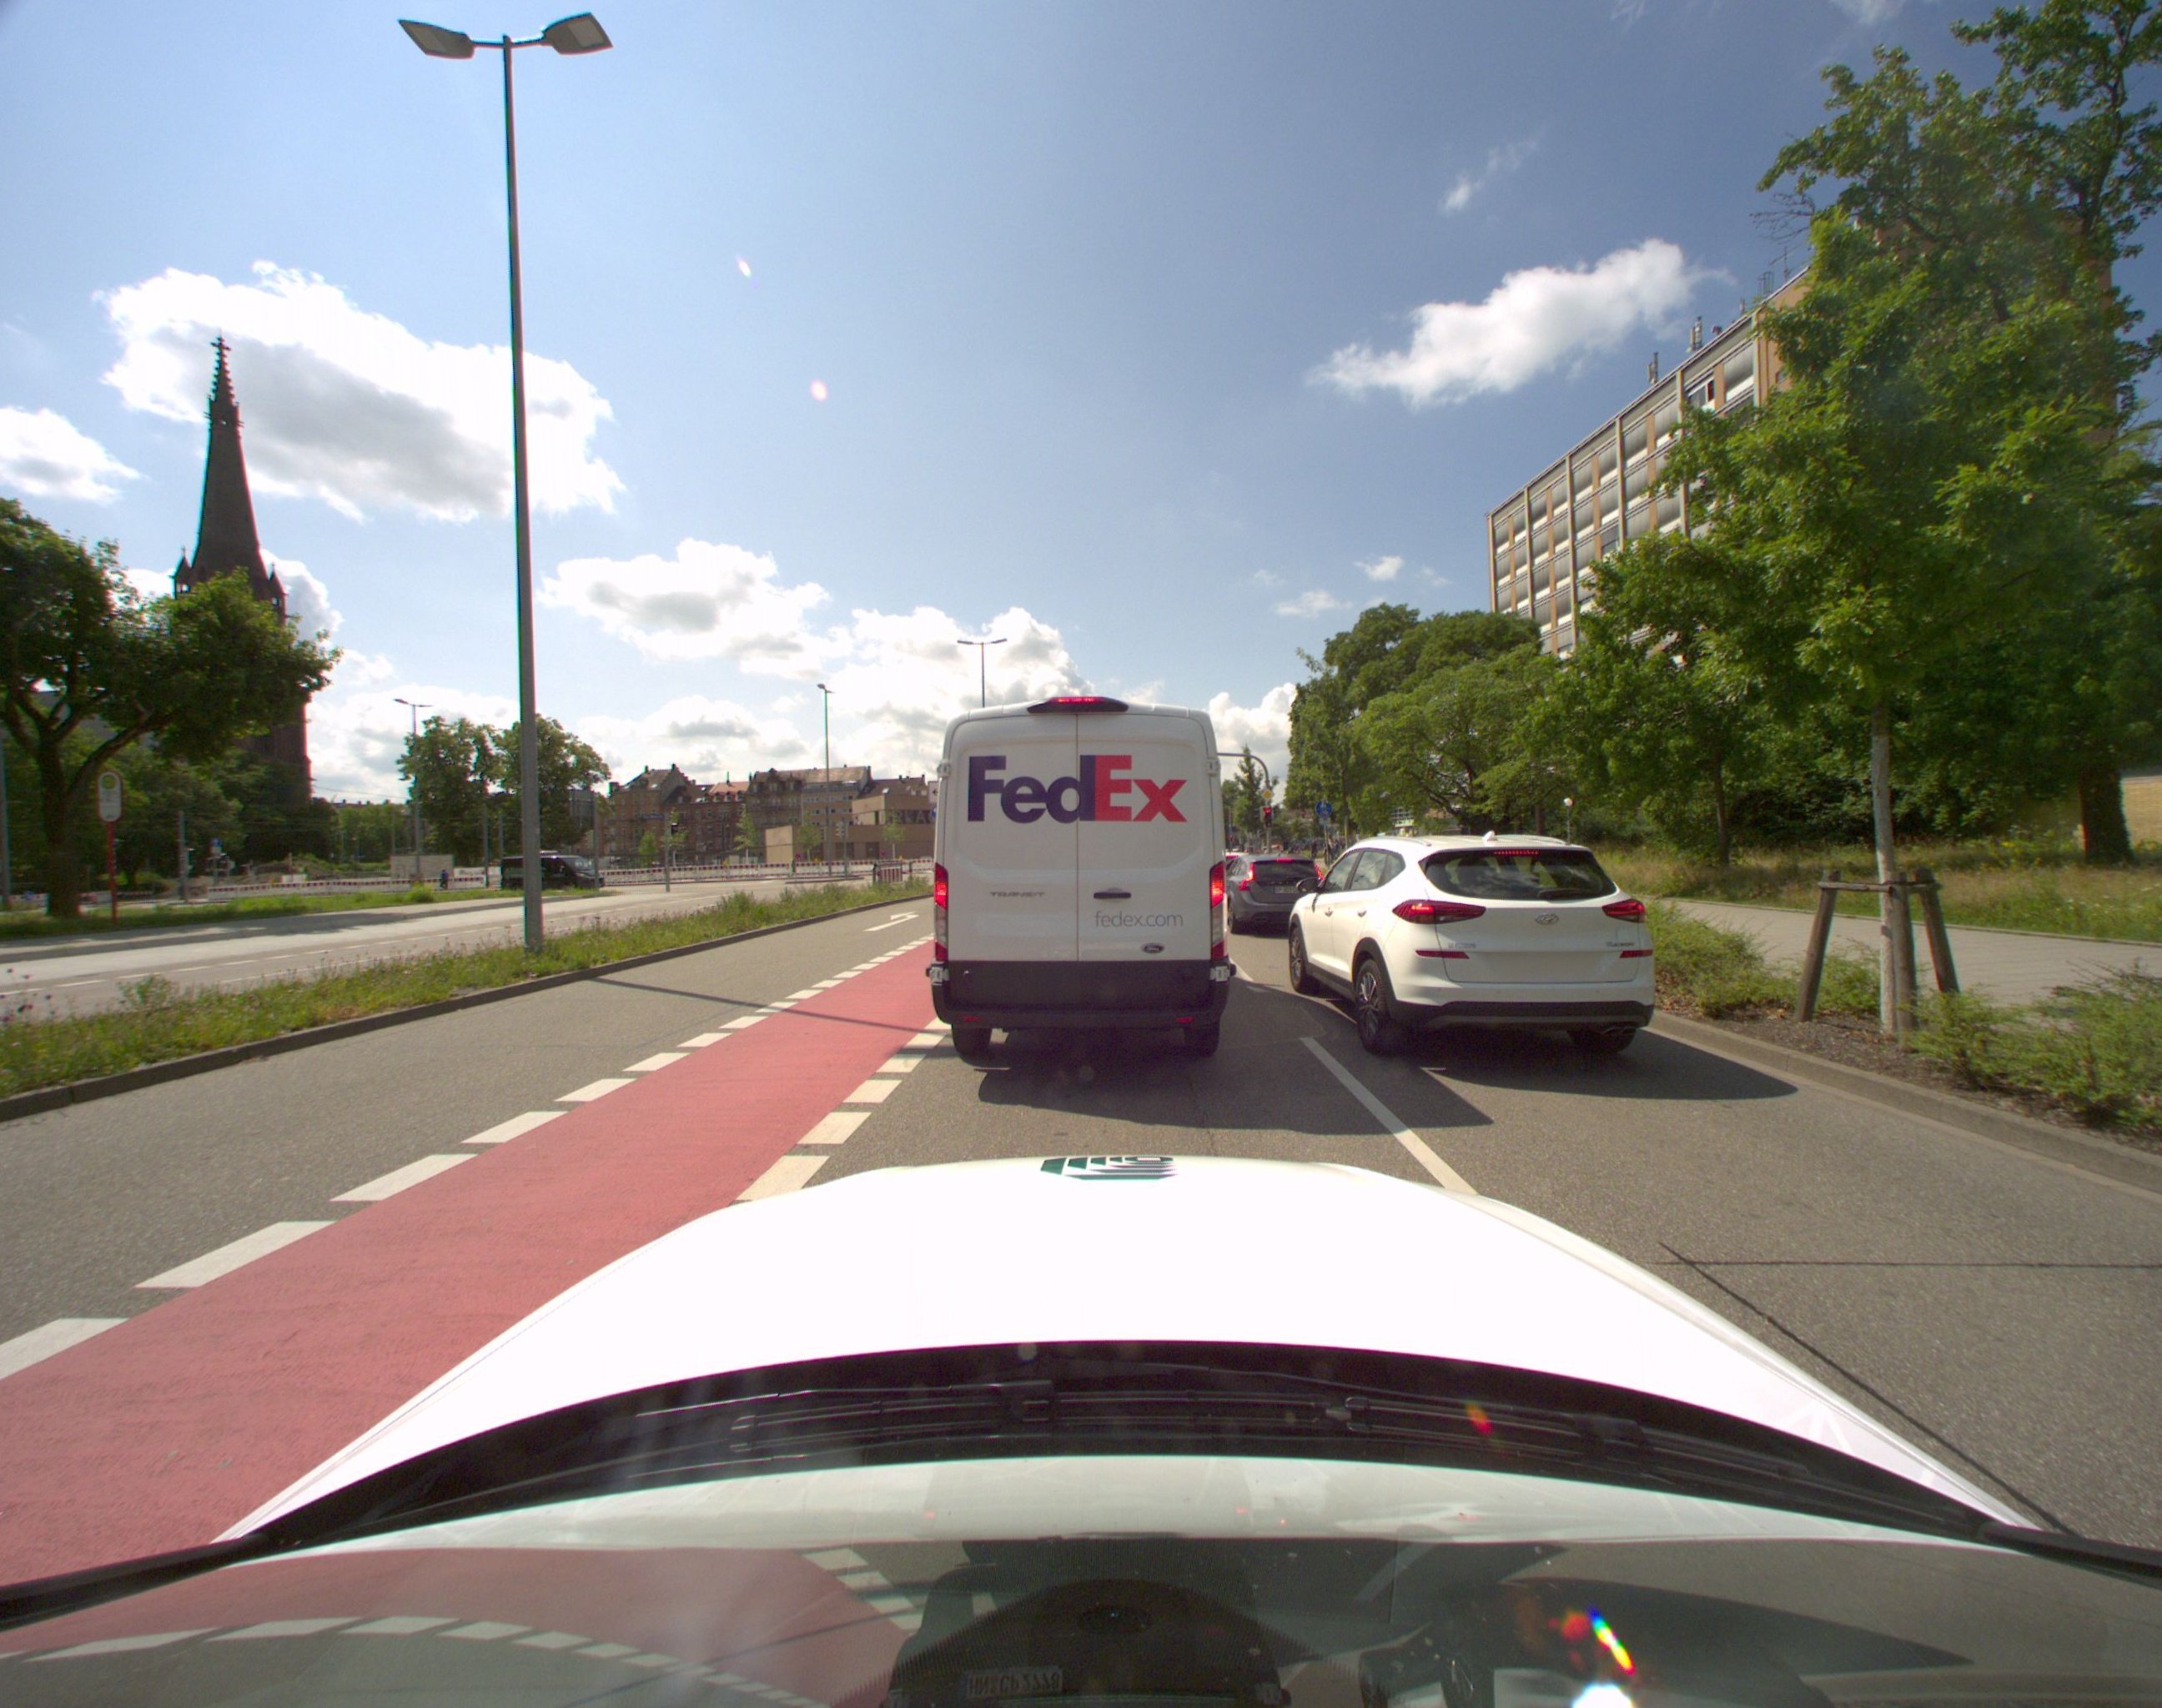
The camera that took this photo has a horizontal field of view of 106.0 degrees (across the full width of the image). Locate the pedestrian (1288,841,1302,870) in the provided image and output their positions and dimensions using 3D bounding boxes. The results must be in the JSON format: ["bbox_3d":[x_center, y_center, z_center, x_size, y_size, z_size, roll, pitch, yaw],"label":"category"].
[{"bbox_3d":[14.035,0.096,53.301,0.752,1.849,0.820,-2,0,20],"label":"pedestrian"}]

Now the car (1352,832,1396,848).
[{"bbox_3d":[51.973,-2.441,144.522,7.064,2.717,2.487,0,-1,-11],"label":"car"}]

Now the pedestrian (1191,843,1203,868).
[{"bbox_3d":[9.063,0.117,63.596,0.756,1.849,0.816,-2,0,-1],"label":"pedestrian"}]

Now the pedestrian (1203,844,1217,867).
[{"bbox_3d":[10.545,0.085,66.620,0.764,1.849,0.807,-2,0,-35],"label":"pedestrian"}]

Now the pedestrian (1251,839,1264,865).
[{"bbox_3d":[12.983,-0.154,59.817,0.810,1.849,0.762,-2,0,5],"label":"pedestrian"}]

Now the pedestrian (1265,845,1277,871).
[{"bbox_3d":[13.716,0.312,58.873,0.753,1.849,0.820,-2,0,16],"label":"pedestrian"}]

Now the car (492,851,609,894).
[{"bbox_3d":[-29.571,1.003,45.491,4.989,2.175,2.153,-2,0,-2],"label":"car"}]

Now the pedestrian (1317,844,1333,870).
[{"bbox_3d":[15.455,0.188,51.537,0.755,1.655,0.817,-2,0,5],"label":"pedestrian"}]

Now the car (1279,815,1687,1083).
[{"bbox_3d":[3.059,0.599,7.223,1.807,1.678,3.978,-2,0,3],"label":"car"}]

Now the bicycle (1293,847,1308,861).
[{"bbox_3d":[25.343,0.019,93.946,1.414,1.464,4.330,-2,0,17],"label":"bicycle"}]

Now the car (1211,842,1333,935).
[{"bbox_3d":[3.589,0.584,15.930,1.684,1.549,3.724,-2,0,3],"label":"car"}]

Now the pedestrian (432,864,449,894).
[{"bbox_3d":[-44.961,1.749,57.190,0.644,2.013,0.632,-2,0,-1],"label":"pedestrian"}]

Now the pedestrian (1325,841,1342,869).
[{"bbox_3d":[17.159,0.057,55.352,0.758,1.849,0.814,-2,0,-8],"label":"pedestrian"}]

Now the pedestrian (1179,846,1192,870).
[{"bbox_3d":[8.334,0.301,64.915,0.752,1.849,0.820,-2,0,20],"label":"pedestrian"}]

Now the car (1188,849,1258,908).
[{"bbox_3d":[3.866,0.613,22.627,1.493,1.464,3.477,-2,0,3],"label":"car"}]

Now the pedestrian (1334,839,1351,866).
[{"bbox_3d":[17.897,-0.098,55.743,0.758,1.849,0.814,-2,0,-6],"label":"pedestrian"}]

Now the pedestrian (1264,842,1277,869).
[{"bbox_3d":[13.153,0.100,56.529,0.752,1.849,0.820,-2,0,20],"label":"pedestrian"}]

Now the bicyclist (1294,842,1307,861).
[{"bbox_3d":[25.290,-0.322,93.783,1.421,2.171,1.345,-2,0,17],"label":"bicyclist"}]

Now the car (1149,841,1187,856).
[{"bbox_3d":[16.479,-1.048,154.597,7.023,2.717,2.501,0,-1,7],"label":"car"}]

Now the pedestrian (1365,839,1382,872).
[{"bbox_3d":[16.755,0.083,46.653,0.754,1.849,0.818,-2,0,7],"label":"pedestrian"}]

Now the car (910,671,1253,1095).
[{"bbox_3d":[0.128,0.173,7.286,2.064,2.581,4.432,-2,0,3],"label":"car"}]
